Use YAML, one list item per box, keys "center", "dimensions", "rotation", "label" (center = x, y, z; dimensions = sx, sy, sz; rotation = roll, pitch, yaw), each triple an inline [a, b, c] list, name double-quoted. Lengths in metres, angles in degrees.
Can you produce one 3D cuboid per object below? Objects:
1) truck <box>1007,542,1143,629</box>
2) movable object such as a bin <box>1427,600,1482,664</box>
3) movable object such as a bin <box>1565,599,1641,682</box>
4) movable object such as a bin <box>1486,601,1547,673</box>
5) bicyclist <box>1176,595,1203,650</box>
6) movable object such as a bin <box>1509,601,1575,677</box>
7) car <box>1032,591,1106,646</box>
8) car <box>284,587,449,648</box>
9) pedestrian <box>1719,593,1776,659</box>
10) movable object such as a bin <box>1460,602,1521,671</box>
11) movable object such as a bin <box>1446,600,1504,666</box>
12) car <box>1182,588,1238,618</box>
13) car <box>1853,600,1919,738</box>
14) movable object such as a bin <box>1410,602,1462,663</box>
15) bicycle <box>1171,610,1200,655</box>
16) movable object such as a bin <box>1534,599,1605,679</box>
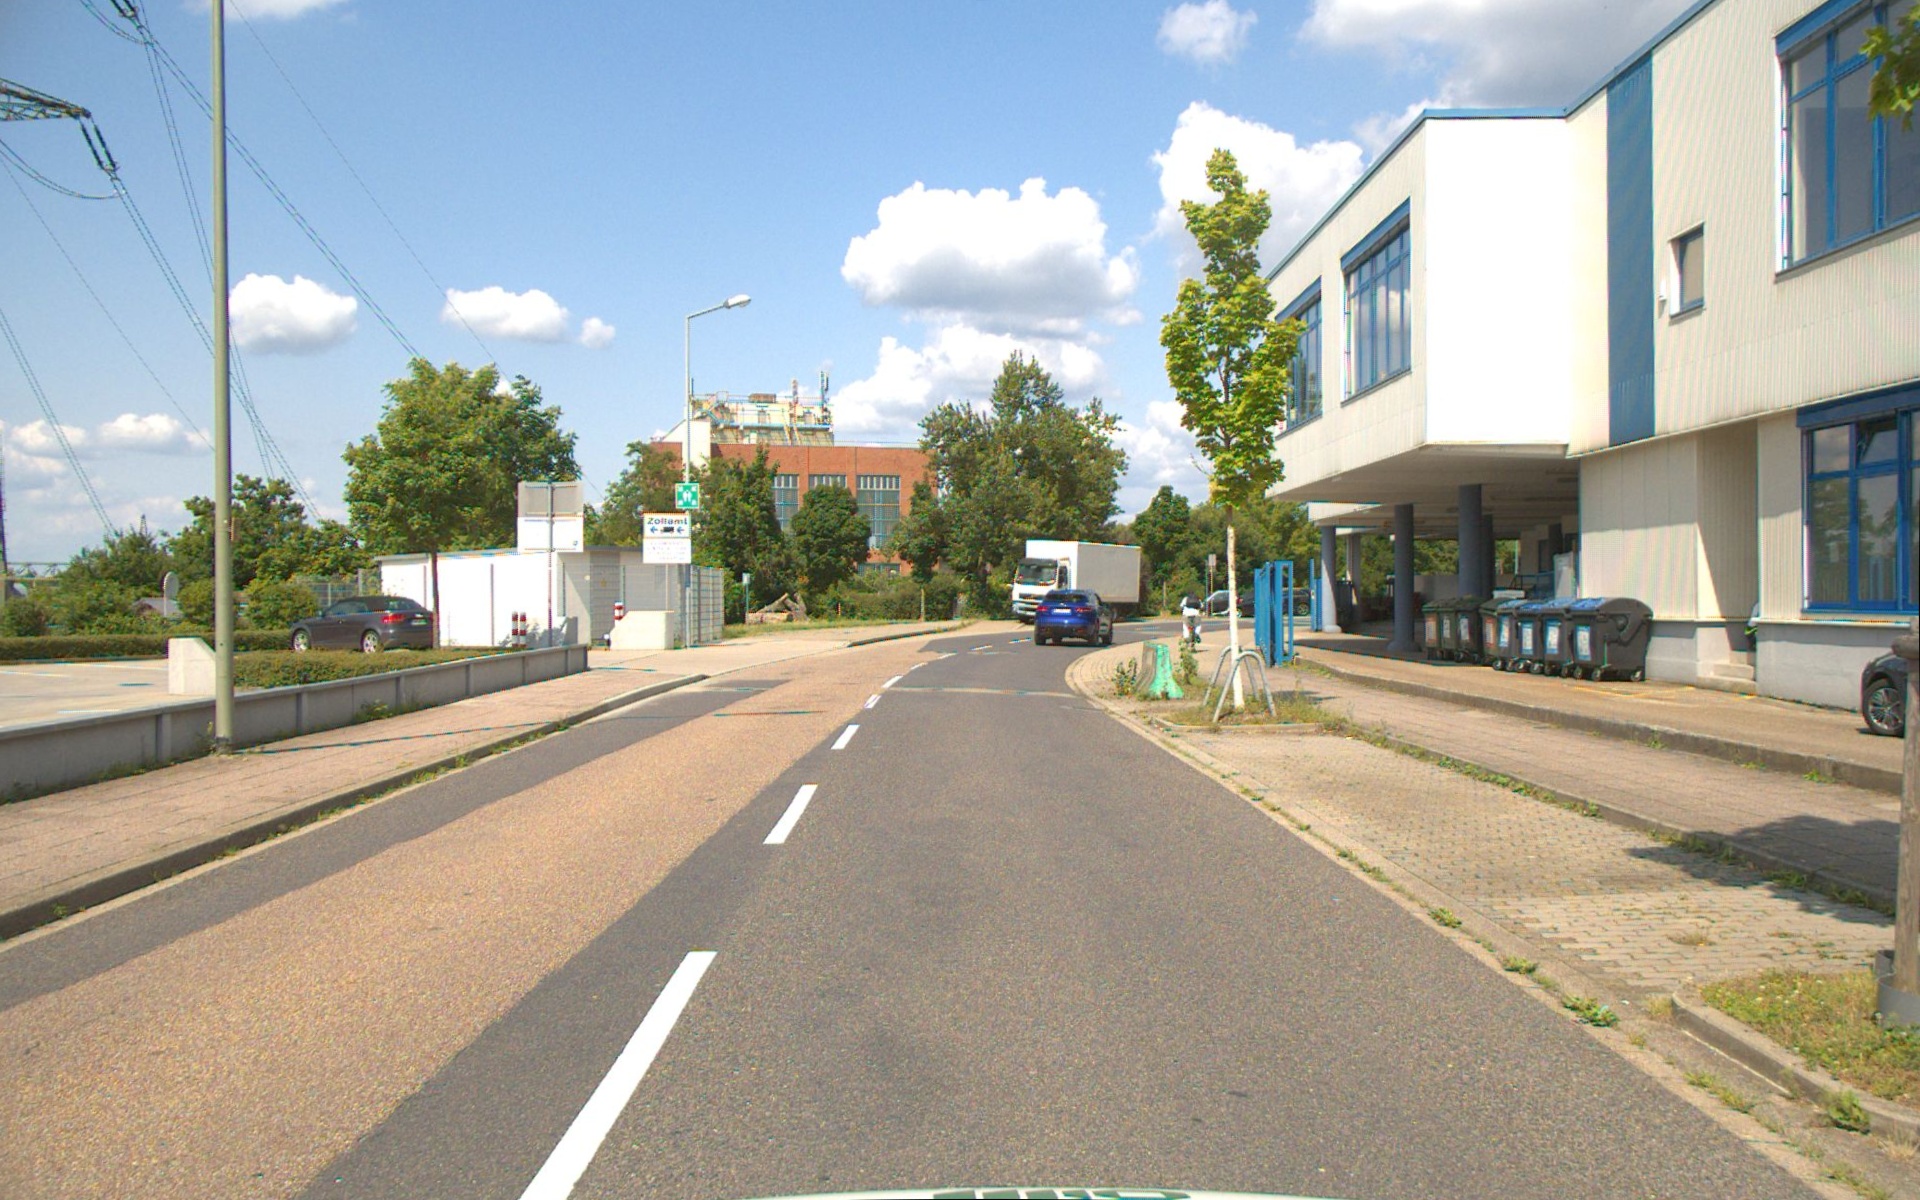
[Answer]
- center: [5.326, -0.688, 74.493]
  dimensions: [2.277, 3.629, 9.351]
  rotation: [1, 1, 29]
  label: "truck"
- center: [11.402, 0.724, 38.165]
  dimensions: [0.788, 1.438, 1.357]
  rotation: [1, -1, -3]
  label: "movable object such as a bin"
- center: [11.433, 0.708, 29.443]
  dimensions: [0.788, 1.438, 1.357]
  rotation: [1, -1, -2]
  label: "movable object such as a bin"
- center: [11.338, 0.748, 33.728]
  dimensions: [0.788, 1.438, 1.174]
  rotation: [1, -1, -3]
  label: "movable object such as a bin"
- center: [5.955, 0.586, 42.975]
  dimensions: [0.649, 1.422, 0.859]
  rotation: [0, 0, 11]
  label: "bicyclist"
- center: [11.390, 0.755, 32.409]
  dimensions: [0.788, 1.438, 1.357]
  rotation: [1, -1, -2]
  label: "movable object such as a bin"
- center: [3.408, 0.558, 51.032]
  dimensions: [1.869, 1.621, 4.705]
  rotation: [0, 0, 9]
  label: "car"
- center: [-14.328, 0.406, 39.895]
  dimensions: [3.917, 1.402, 1.798]
  rotation: [0, 0, 34]
  label: "car"
- center: [12.840, 0.421, 26.965]
  dimensions: [0.553, 1.031, 0.710]
  rotation: [2, -1, 0]
  label: "pedestrian"
- center: [11.270, 0.764, 35.177]
  dimensions: [0.788, 1.438, 1.426]
  rotation: [1, -1, -3]
  label: "movable object such as a bin"
- center: [11.423, 0.725, 36.753]
  dimensions: [0.788, 1.438, 1.405]
  rotation: [1, -1, -3]
  label: "movable object such as a bin"
- center: [13.641, 0.155, 90.348]
  dimensions: [2.837, 1.597, 1.890]
  rotation: [0, -1, 3]
  label: "car"
- center: [10.706, 0.718, 16.527]
  dimensions: [1.465, 1.428, 3.854]
  rotation: [0, 0, -1]
  label: "car"
- center: [11.395, 0.773, 39.643]
  dimensions: [0.788, 1.438, 1.357]
  rotation: [1, -1, -3]
  label: "movable object such as a bin"
- center: [5.846, 0.824, 42.748]
  dimensions: [0.652, 1.128, 2.169]
  rotation: [0, 0, 10]
  label: "bicycle"
- center: [11.369, 0.717, 30.881]
  dimensions: [0.788, 1.438, 1.357]
  rotation: [1, -1, -2]
  label: "movable object such as a bin"
